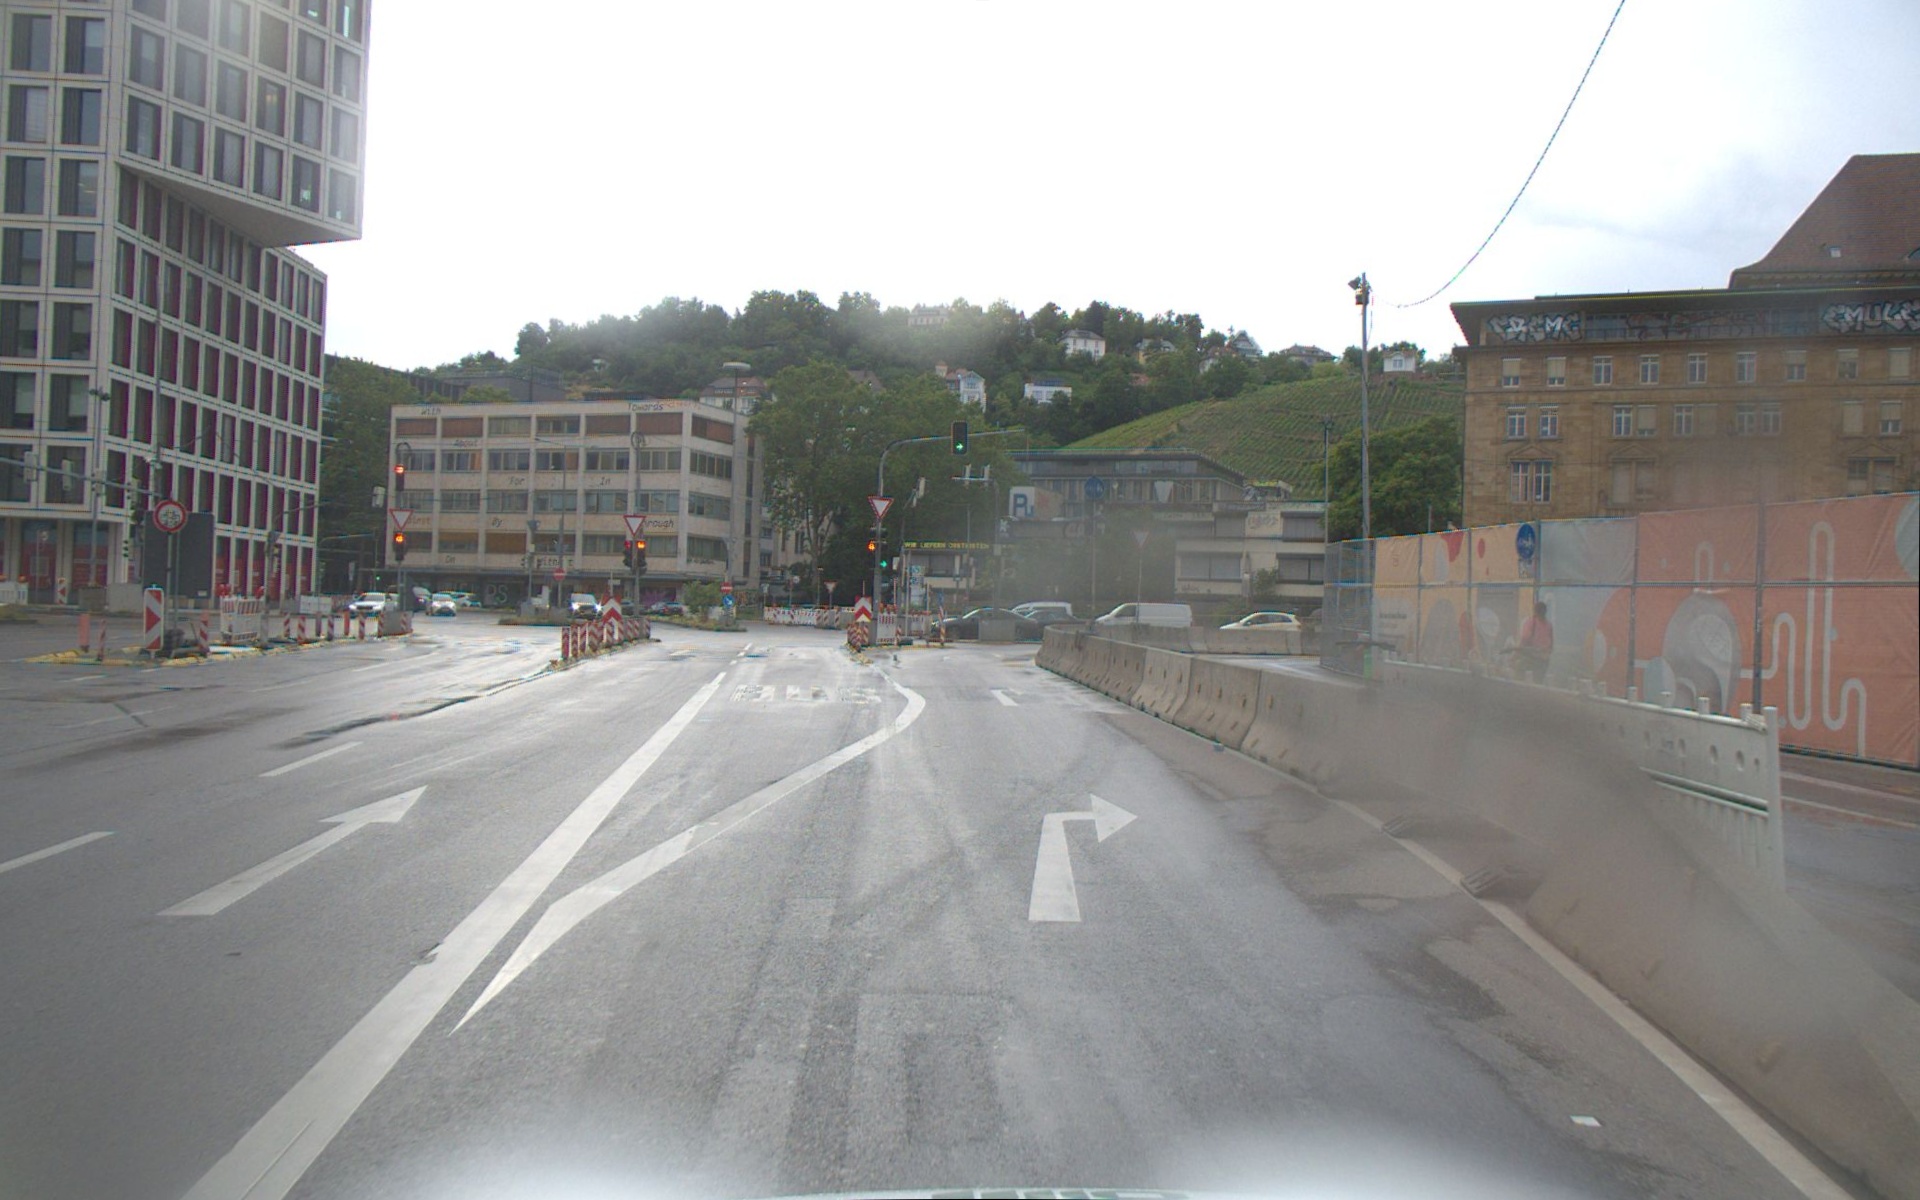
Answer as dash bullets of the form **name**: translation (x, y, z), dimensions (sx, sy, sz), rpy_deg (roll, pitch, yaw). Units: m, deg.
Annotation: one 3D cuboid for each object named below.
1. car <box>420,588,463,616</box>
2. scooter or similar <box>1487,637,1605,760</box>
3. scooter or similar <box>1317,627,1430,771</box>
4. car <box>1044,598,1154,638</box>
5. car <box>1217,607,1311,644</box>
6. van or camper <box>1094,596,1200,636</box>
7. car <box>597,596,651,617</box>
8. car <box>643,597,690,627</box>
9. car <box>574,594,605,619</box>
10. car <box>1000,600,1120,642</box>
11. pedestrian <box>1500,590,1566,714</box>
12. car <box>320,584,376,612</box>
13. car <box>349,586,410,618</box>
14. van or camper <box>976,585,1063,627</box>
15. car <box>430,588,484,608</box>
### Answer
- **car**: translation (-35.400, 0.131, 112.909), dimensions (1.783, 1.847, 3.954), rpy_deg (2, 0, -33)
- **scooter or similar**: translation (6.182, 1.022, 17.512), dimensions (0.459, 1.204, 1.410), rpy_deg (2, 0, -14)
- **scooter or similar**: translation (3.877, 0.901, 15.616), dimensions (0.661, 1.236, 1.571), rpy_deg (2, 0, 0)
- **car**: translation (6.141, 0.785, 73.243), dimensions (4.559, 1.626, 2.015), rpy_deg (2, 0, -6)
- **car**: translation (14.996, 1.249, 81.714), dimensions (4.277, 1.703, 1.847), rpy_deg (2, 0, -2)
- **van or camper**: translation (9.534, 0.809, 84.538), dimensions (5.096, 1.927, 1.885), rpy_deg (2, 0, -7)
- **car**: translation (-26.204, 0.519, 128.974), dimensions (3.990, 1.518, 1.732), rpy_deg (2, 0, 31)
- **car**: translation (-21.332, 0.849, 120.089), dimensions (1.975, 2.049, 3.956), rpy_deg (2, 0, -32)
- **car**: translation (-23.224, 0.383, 103.695), dimensions (1.799, 1.512, 3.987), rpy_deg (2, 0, -13)
- **car**: translation (4.149, 0.880, 68.989), dimensions (4.574, 1.626, 2.009), rpy_deg (2, 0, -17)
- **pedestrian**: translation (8.977, 0.800, 25.933), dimensions (0.705, 1.899, 0.708), rpy_deg (2, 0, -6)
- **car**: translation (-43.347, -0.146, 117.136), dimensions (3.919, 1.847, 1.799), rpy_deg (2, 0, 35)
- **car**: translation (-33.280, 0.124, 94.995), dimensions (2.179, 1.784, 4.806), rpy_deg (1, 0, -6)
- **van or camper**: translation (3.031, 0.309, 84.351), dimensions (4.161, 2.013, 1.848), rpy_deg (2, 0, -7)
- **car**: translation (-41.065, -0.143, 134.988), dimensions (3.980, 1.518, 1.736), rpy_deg (2, 0, 20)
